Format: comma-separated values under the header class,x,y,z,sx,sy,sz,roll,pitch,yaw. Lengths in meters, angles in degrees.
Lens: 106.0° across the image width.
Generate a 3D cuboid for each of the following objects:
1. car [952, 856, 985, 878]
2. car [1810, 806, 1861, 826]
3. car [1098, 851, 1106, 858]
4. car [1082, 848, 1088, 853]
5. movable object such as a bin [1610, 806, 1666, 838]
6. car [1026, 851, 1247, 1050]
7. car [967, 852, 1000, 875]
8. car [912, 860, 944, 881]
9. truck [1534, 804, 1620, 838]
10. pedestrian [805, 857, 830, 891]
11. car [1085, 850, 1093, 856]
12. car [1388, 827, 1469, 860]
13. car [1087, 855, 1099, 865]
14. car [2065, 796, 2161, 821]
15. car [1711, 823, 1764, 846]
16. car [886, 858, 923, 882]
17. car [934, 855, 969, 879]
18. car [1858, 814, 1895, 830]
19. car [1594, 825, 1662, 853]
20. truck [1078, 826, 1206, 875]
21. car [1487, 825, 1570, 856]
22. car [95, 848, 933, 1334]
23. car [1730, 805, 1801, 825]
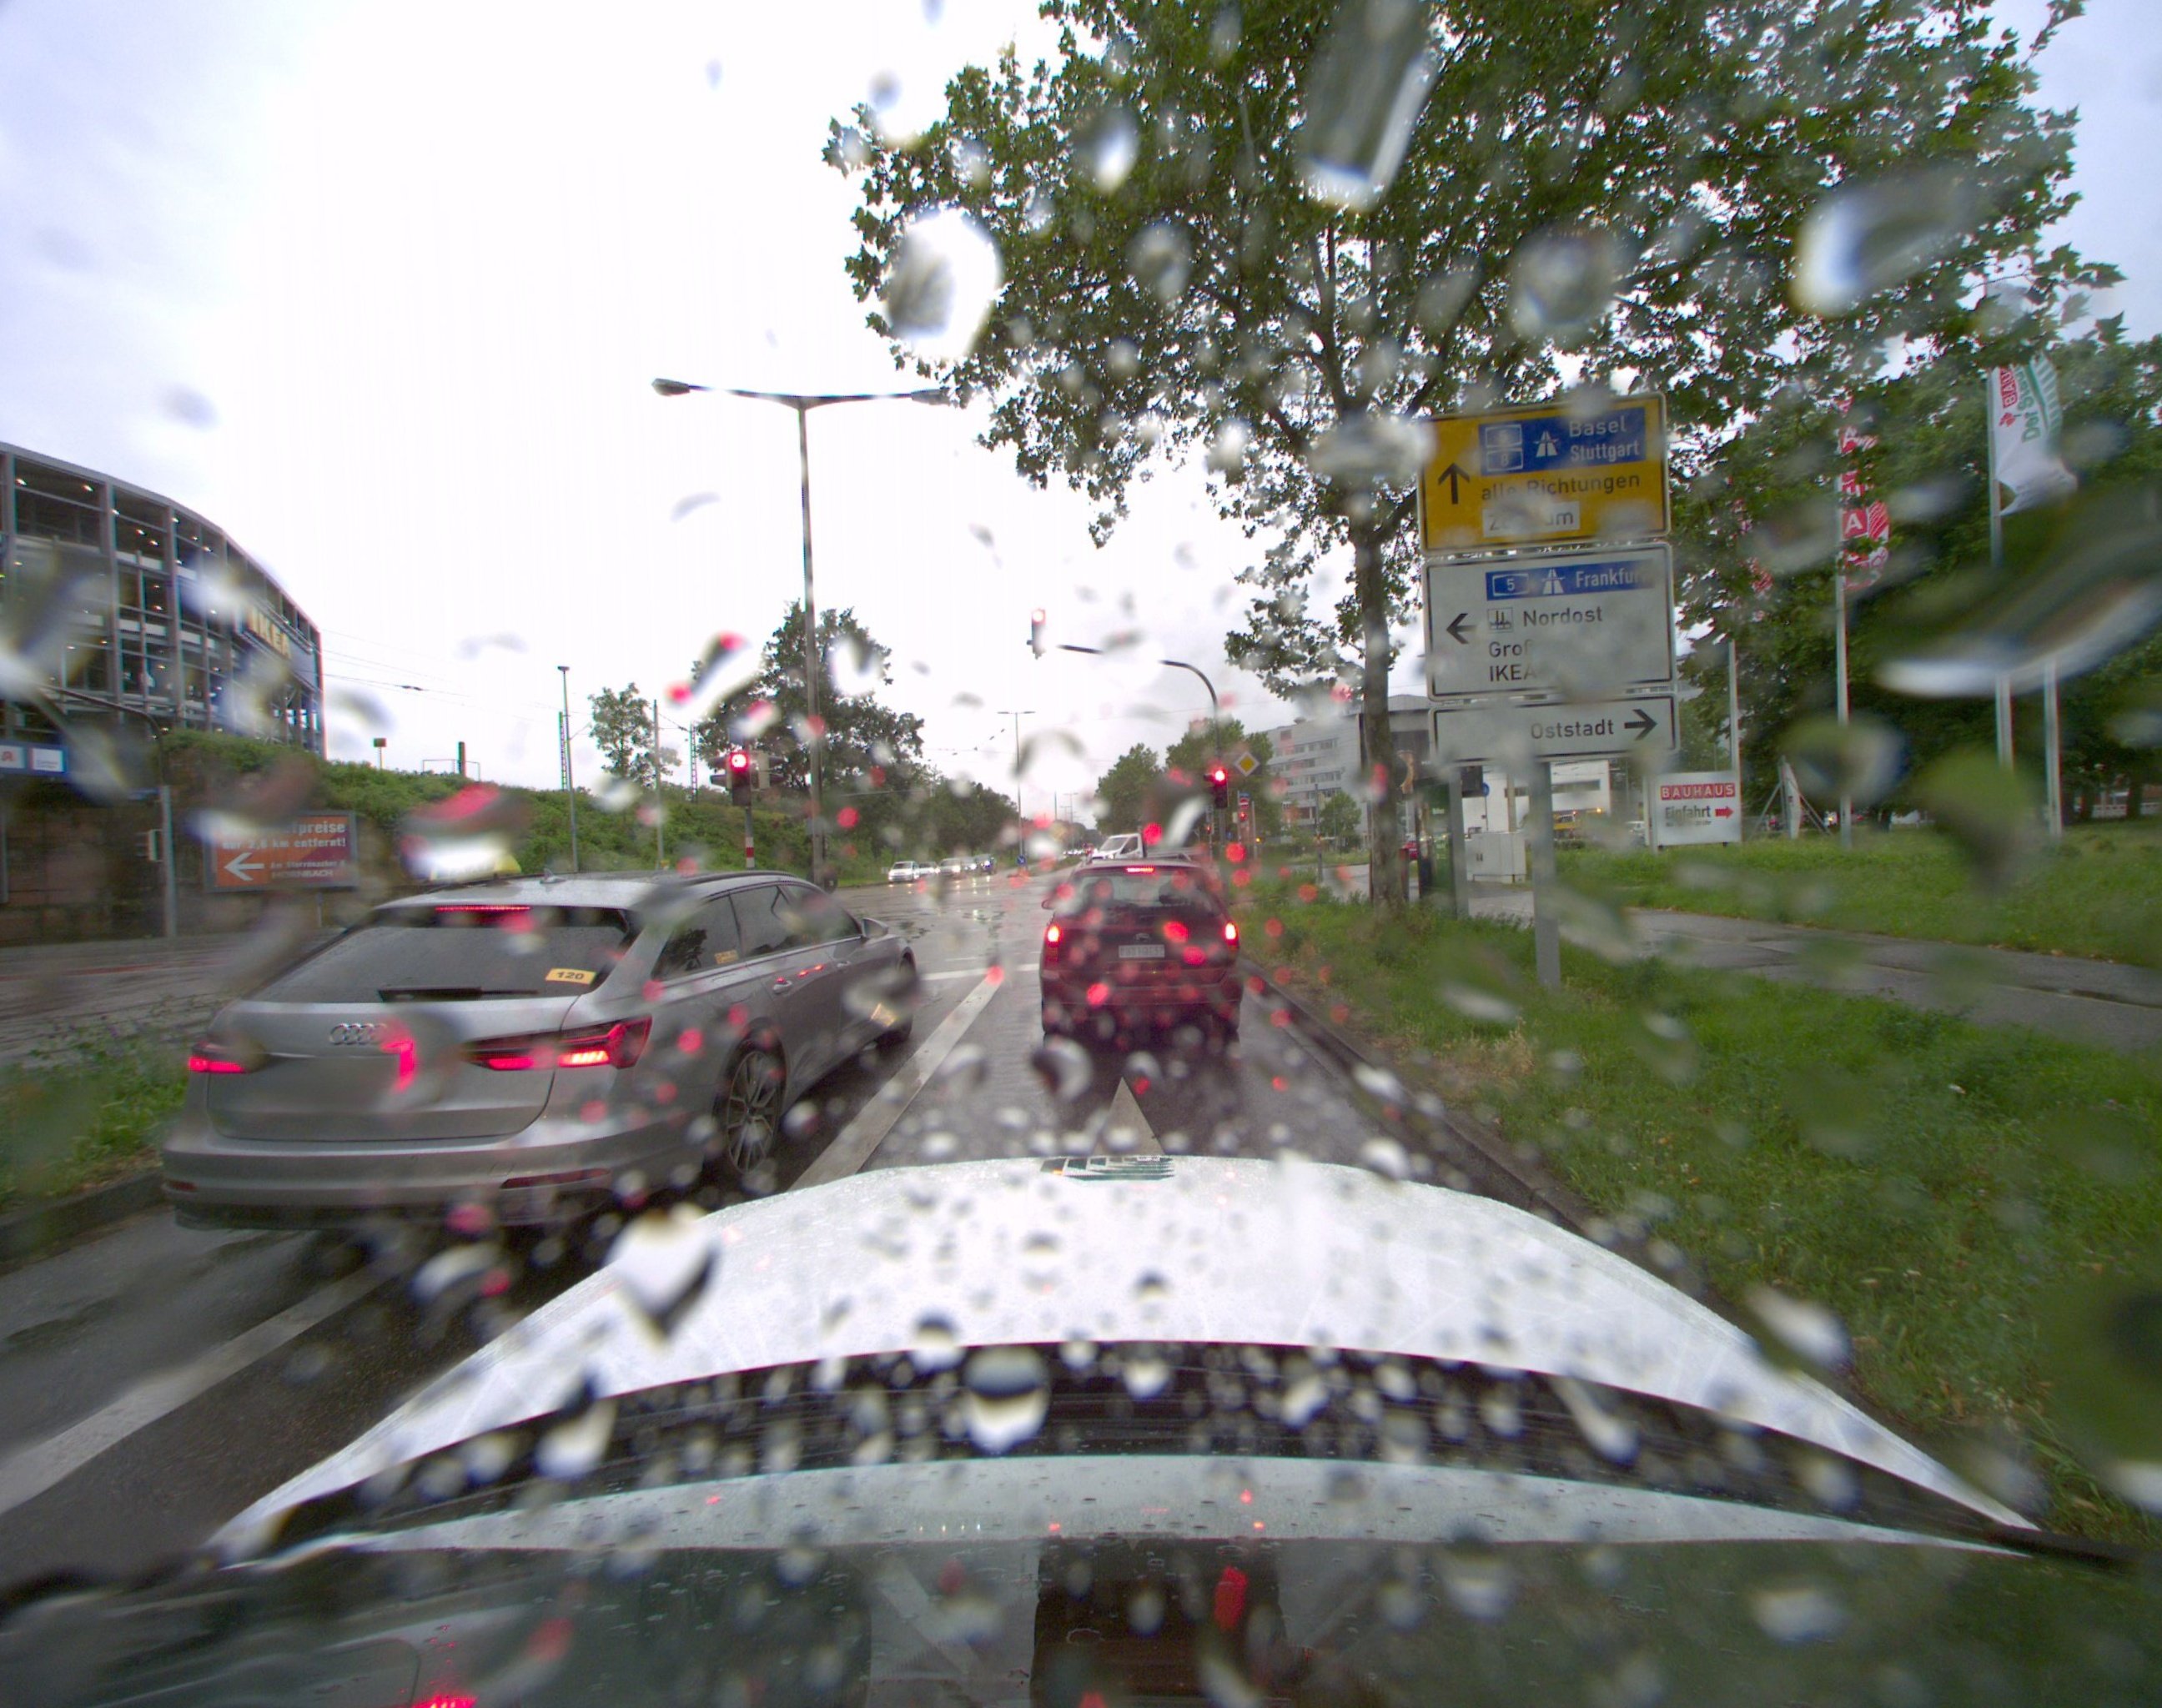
class,x,y,z,sx,sy,sz,roll,pitch,yaw
car,-8.730,0.997,63.657,1.756,1.586,4.813,-3,-1,0
car,66.838,-3.331,72.088,4.638,1.586,1.909,-2,-1,-29
car,4.921,0.128,194.402,1.691,1.528,3.849,-3,0,3
car,1.205,-0.968,245.349,1.691,1.528,3.849,-3,0,3
movable object such as a bin,66.856,-3.816,97.657,6.347,3.507,3.293,-3,0,-34
car,0.446,0.713,7.926,1.636,1.465,3.733,0,0,1
car,-8.531,0.772,71.857,2.058,1.819,5.542,-3,0,1
car,-11.571,1.226,61.885,1.585,1.404,3.823,-3,0,1
truck,57.979,-3.807,95.388,3.342,3.507,7.806,-3,0,-33
pedestrian,-14.949,1.107,46.218,1.102,1.847,1.126,-3,0,-10
car,2.008,-0.225,202.722,1.691,1.528,3.849,-3,0,3
car,16.936,-0.513,39.700,3.829,1.491,1.662,-2,0,-31
car,1.948,1.009,136.945,1.987,1.790,3.999,0,-1,0
car,88.543,-3.881,69.312,2.286,1.731,5.899,-3,0,-33
car,50.448,-1.532,62.543,4.645,1.586,1.907,-2,-1,-34
car,-11.975,1.066,55.565,1.633,1.452,3.786,-3,0,0
car,-8.944,0.876,56.538,1.632,1.473,3.966,-3,0,1
car,86.055,-3.487,88.084,4.645,1.586,1.907,-2,-1,-34
car,34.842,-0.958,51.826,4.644,1.586,1.907,-2,0,-34
truck,3.393,-0.215,44.118,6.899,2.365,2.455,-3,0,-37
car,24.981,-0.770,45.376,4.847,1.491,1.908,-2,-1,-32
car,-2.289,0.760,5.068,1.763,1.574,4.822,0,0,1
car,67.009,-3.832,79.838,1.886,1.655,5.012,0,-1,-29
